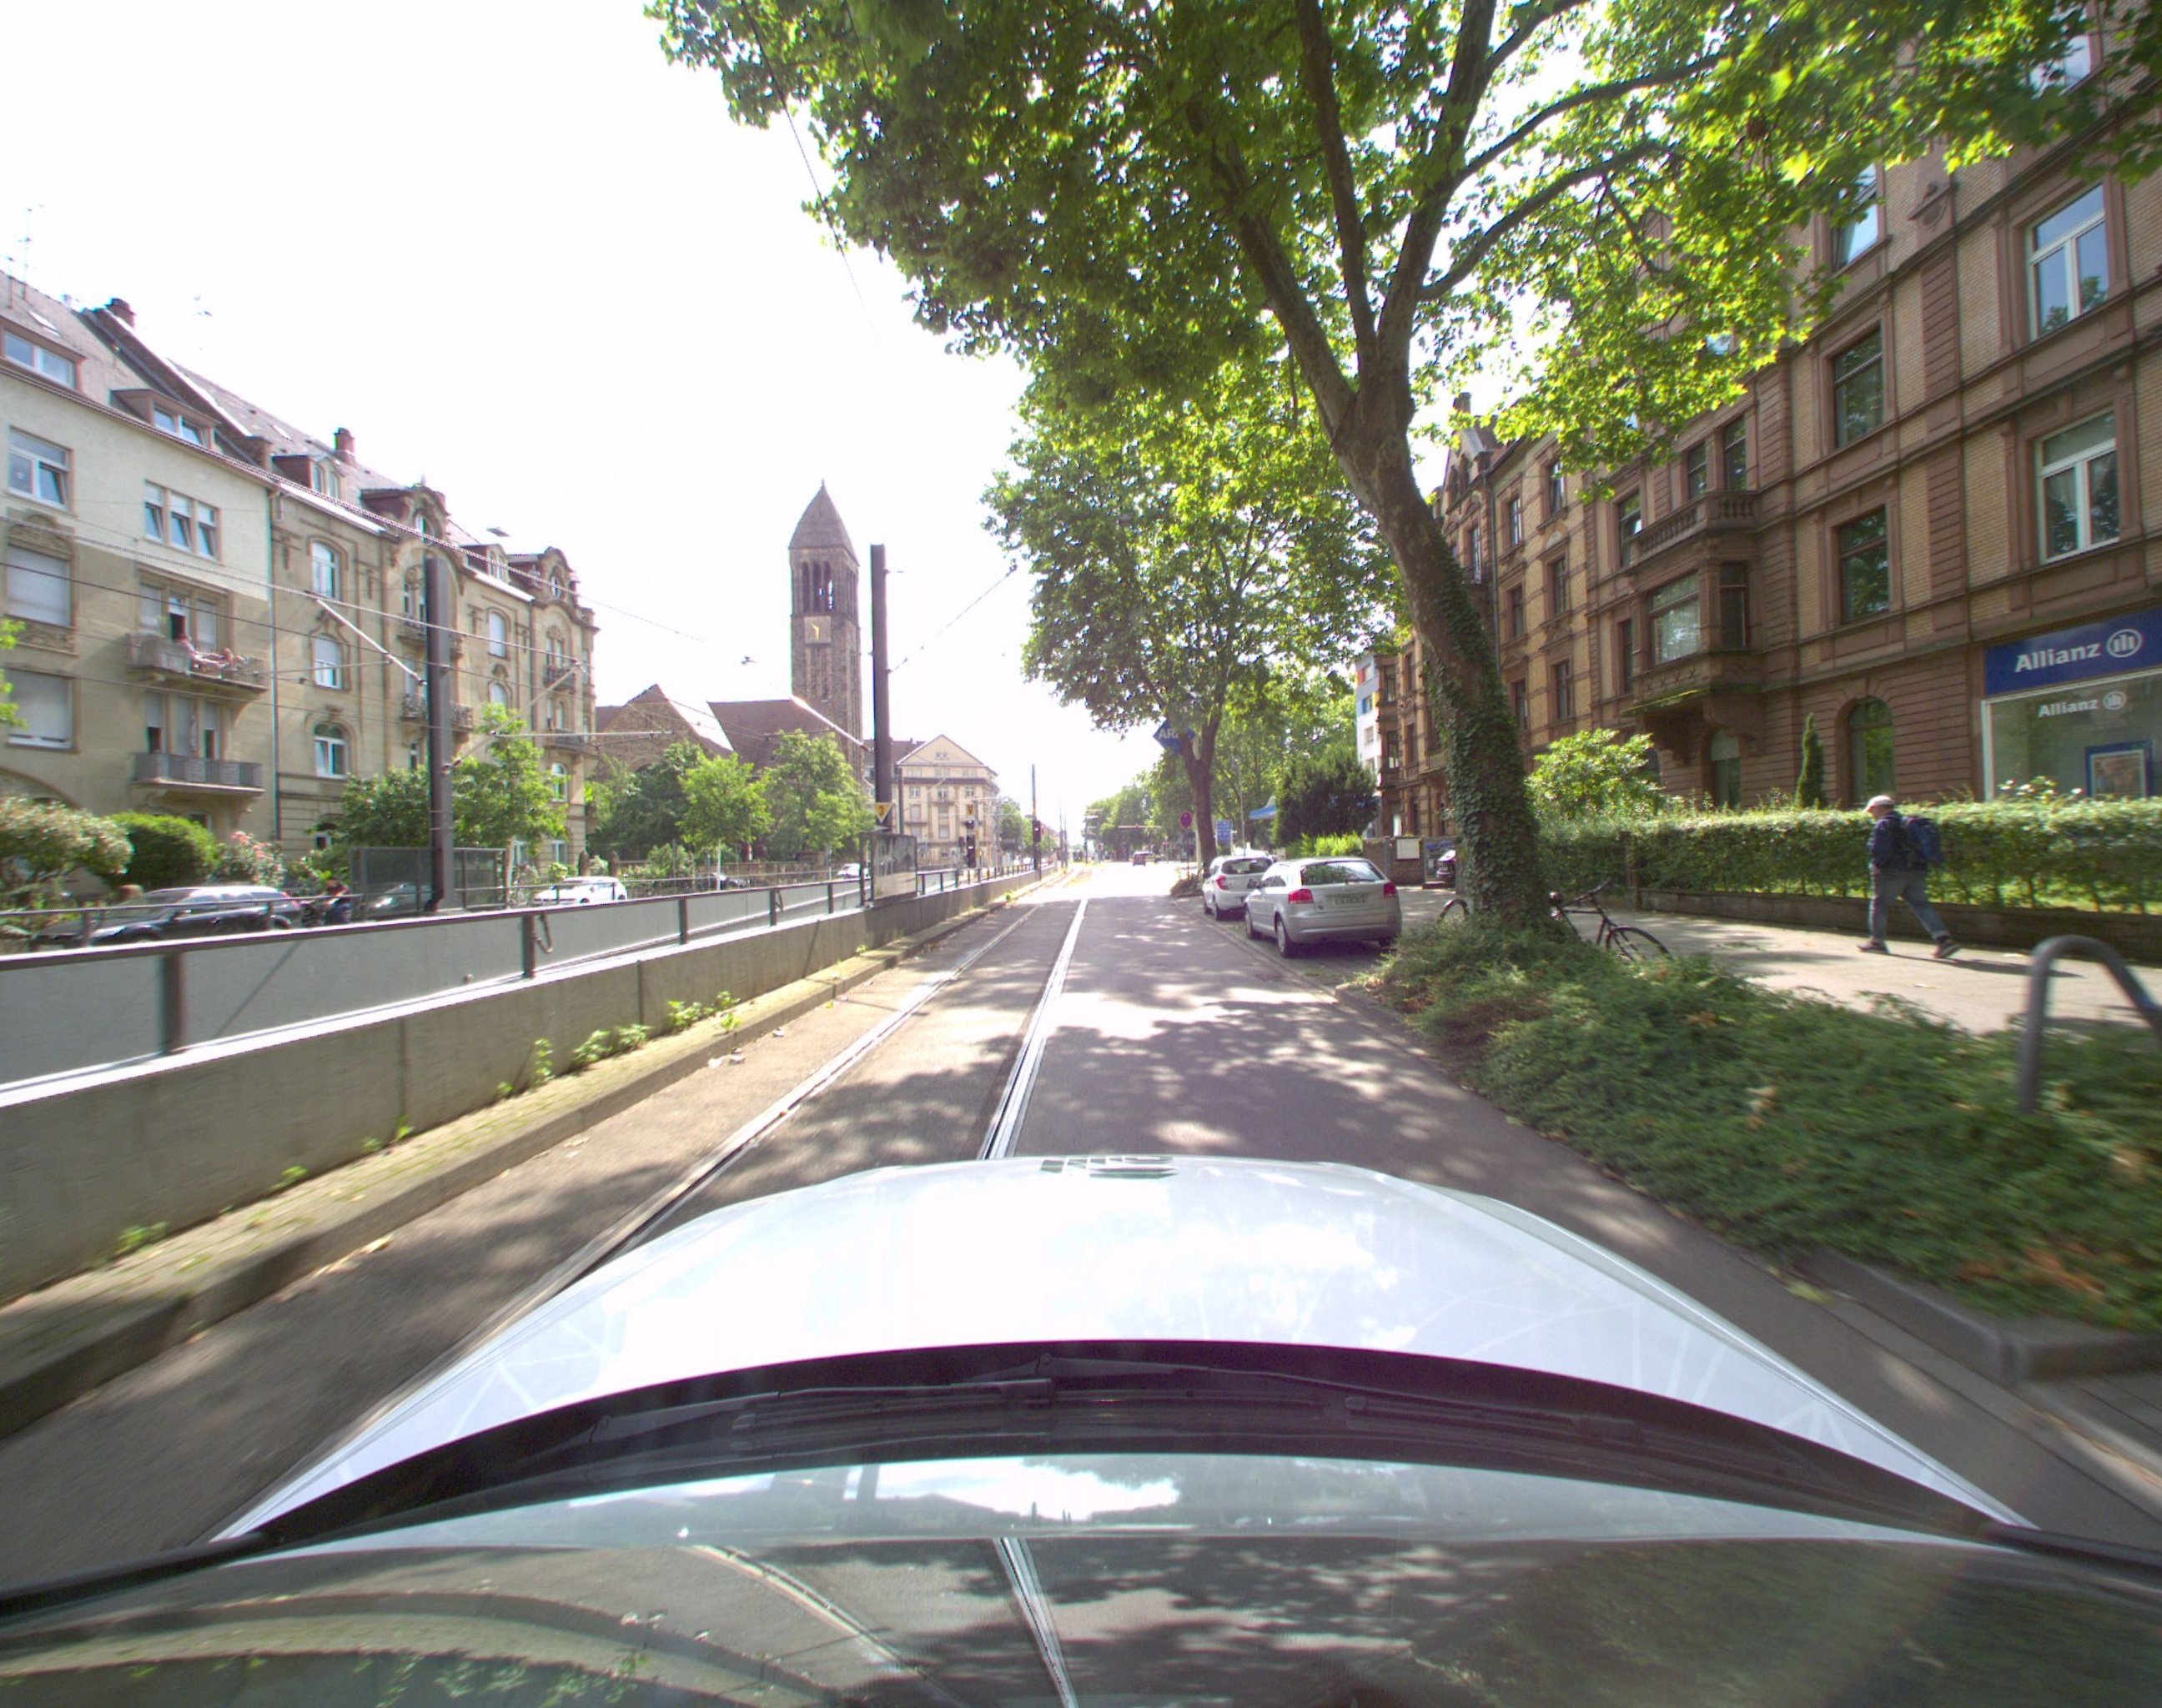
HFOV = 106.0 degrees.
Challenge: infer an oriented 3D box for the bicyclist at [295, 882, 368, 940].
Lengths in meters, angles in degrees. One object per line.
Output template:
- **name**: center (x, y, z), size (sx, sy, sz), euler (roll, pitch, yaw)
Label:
- **bicyclist**: center (-18.602, 1.395, 20.234), size (0.765, 1.337, 1.049), euler (-4, 0, 2)

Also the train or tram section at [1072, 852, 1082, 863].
- **train or tram section**: center (-1.145, 1.057, 242.720), size (2.232, 3.331, 12.977), euler (-2, 0, 2)

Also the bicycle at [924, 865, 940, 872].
- **bicycle**: center (-25.345, 2.403, 138.409), size (2.571, 1.053, 0.676), euler (-2, 0, -26)

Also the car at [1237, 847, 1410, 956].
- **car**: center (3.734, 0.668, 13.222), size (1.672, 1.444, 3.859), euler (-2, 0, 1)

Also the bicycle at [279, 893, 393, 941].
- **bicycle**: center (-18.567, 1.550, 20.379), size (0.773, 0.979, 2.142), euler (-4, 0, 2)

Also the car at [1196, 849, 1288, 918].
- **car**: center (3.877, 0.686, 20.165), size (1.548, 1.485, 3.859), euler (-2, -1, 1)

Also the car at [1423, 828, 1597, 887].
- **car**: center (12.991, 0.101, 24.857), size (4.219, 1.469, 1.942), euler (-4, -1, 1)

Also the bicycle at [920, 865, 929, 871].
- **bicycle**: center (-26.817, 2.434, 139.578), size (0.808, 1.053, 2.543), euler (-2, 0, -27)

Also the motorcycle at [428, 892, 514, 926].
- **motorcycle**: center (-20.423, 1.829, 27.316), size (1.755, 0.941, 1.417), euler (-4, 0, 0)

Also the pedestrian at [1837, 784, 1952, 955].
- **pedestrian**: center (8.882, 0.160, 8.912), size (0.562, 1.786, 0.630), euler (-2, -1, 1)

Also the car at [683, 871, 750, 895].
- **car**: center (-25.899, 2.063, 57.974), size (3.948, 1.464, 1.724), euler (-2, 0, 1)

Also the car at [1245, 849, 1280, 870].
- **car**: center (13.454, 0.430, 60.561), size (1.799, 1.455, 4.002), euler (-1, 0, 1)

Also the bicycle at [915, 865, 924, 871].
- **bicycle**: center (-27.572, 2.442, 139.237), size (0.744, 1.053, 2.543), euler (-2, 0, -27)

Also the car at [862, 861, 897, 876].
- **car**: center (-25.205, 1.829, 101.977), size (3.859, 1.748, 1.894), euler (-2, 0, -2)

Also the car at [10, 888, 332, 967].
- **car**: center (-20.428, 1.578, 18.703), size (1.941, 1.327, 4.728), euler (-2, 0, 2)

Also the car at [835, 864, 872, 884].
- **car**: center (-19.535, 1.711, 70.067), size (1.925, 1.504, 4.413), euler (-2, 0, 0)

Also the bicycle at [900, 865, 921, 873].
- **bicycle**: center (-28.782, 2.578, 137.586), size (3.283, 1.253, 1.003), euler (-2, 0, 17)

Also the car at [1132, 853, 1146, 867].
- **car**: center (7.793, 0.802, 109.152), size (1.744, 1.809, 3.476), euler (-1, 0, 2)

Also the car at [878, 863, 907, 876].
- **car**: center (-24.336, 1.964, 105.244), size (3.255, 1.502, 1.854), euler (-2, 0, 0)

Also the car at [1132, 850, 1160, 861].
- **car**: center (11.665, 0.229, 145.337), size (4.708, 1.860, 2.005), euler (-2, 0, 8)

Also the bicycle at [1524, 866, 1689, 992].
- **bicycle**: center (4.780, 0.641, 7.513), size (0.578, 1.020, 1.322), euler (-2, 0, -4)

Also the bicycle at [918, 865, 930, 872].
- **bicycle**: center (-26.401, 2.407, 137.013), size (1.985, 1.114, 0.482), euler (-2, -1, -35)

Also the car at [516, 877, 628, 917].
- **car**: center (-20.250, 1.658, 32.656), size (1.746, 1.328, 4.311), euler (-2, 0, -1)

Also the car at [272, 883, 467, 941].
- **car**: center (-20.328, 1.606, 23.552), size (2.014, 1.327, 4.099), euler (-2, 0, -1)
